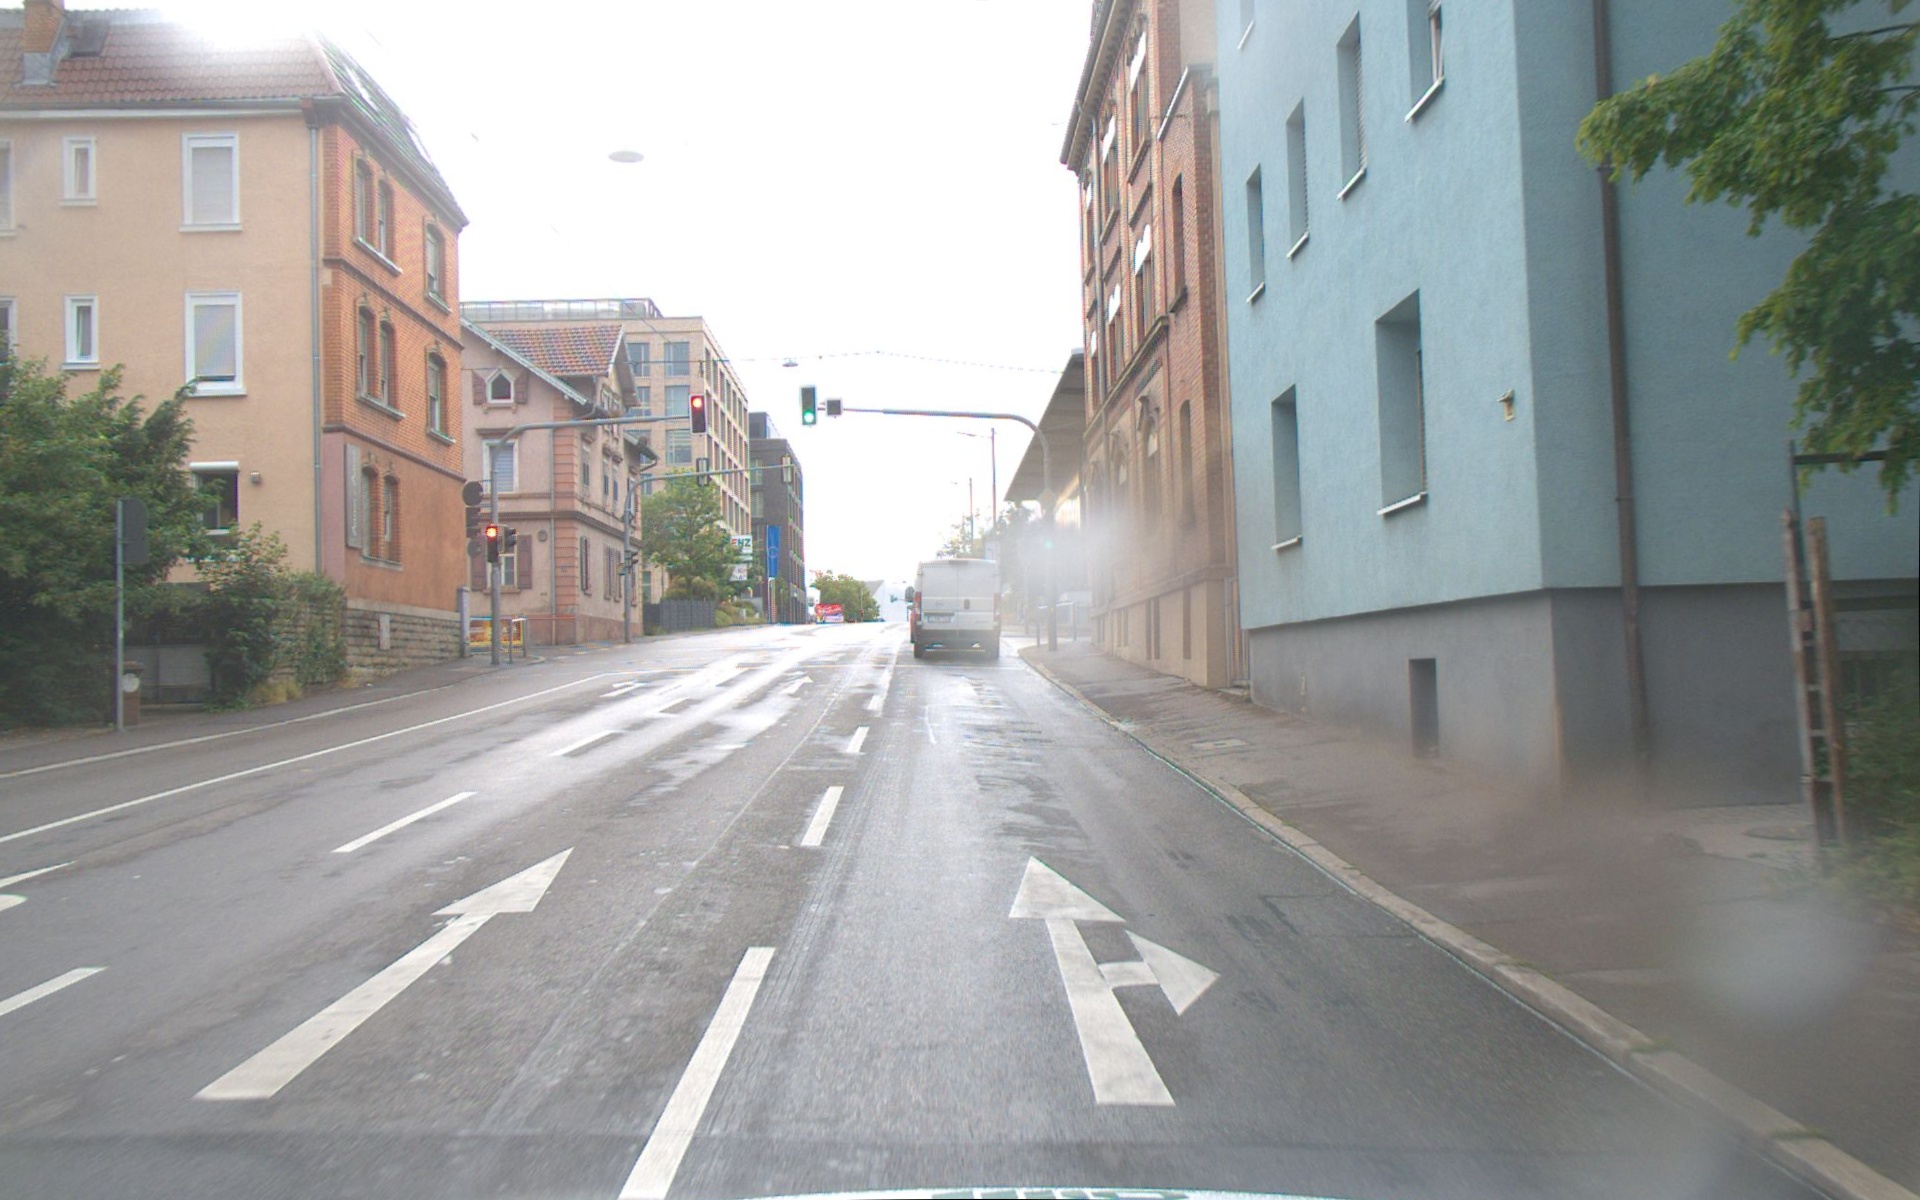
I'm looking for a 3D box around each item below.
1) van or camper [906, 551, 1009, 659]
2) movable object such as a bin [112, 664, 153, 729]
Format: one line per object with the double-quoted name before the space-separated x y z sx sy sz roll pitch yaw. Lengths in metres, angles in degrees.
"van or camper" -0.090 0.148 39.502 2.292 2.398 5.198 0 -1 -1
"movable object such as a bin" -12.360 1.436 24.704 0.401 0.941 0.525 0 -1 -8
